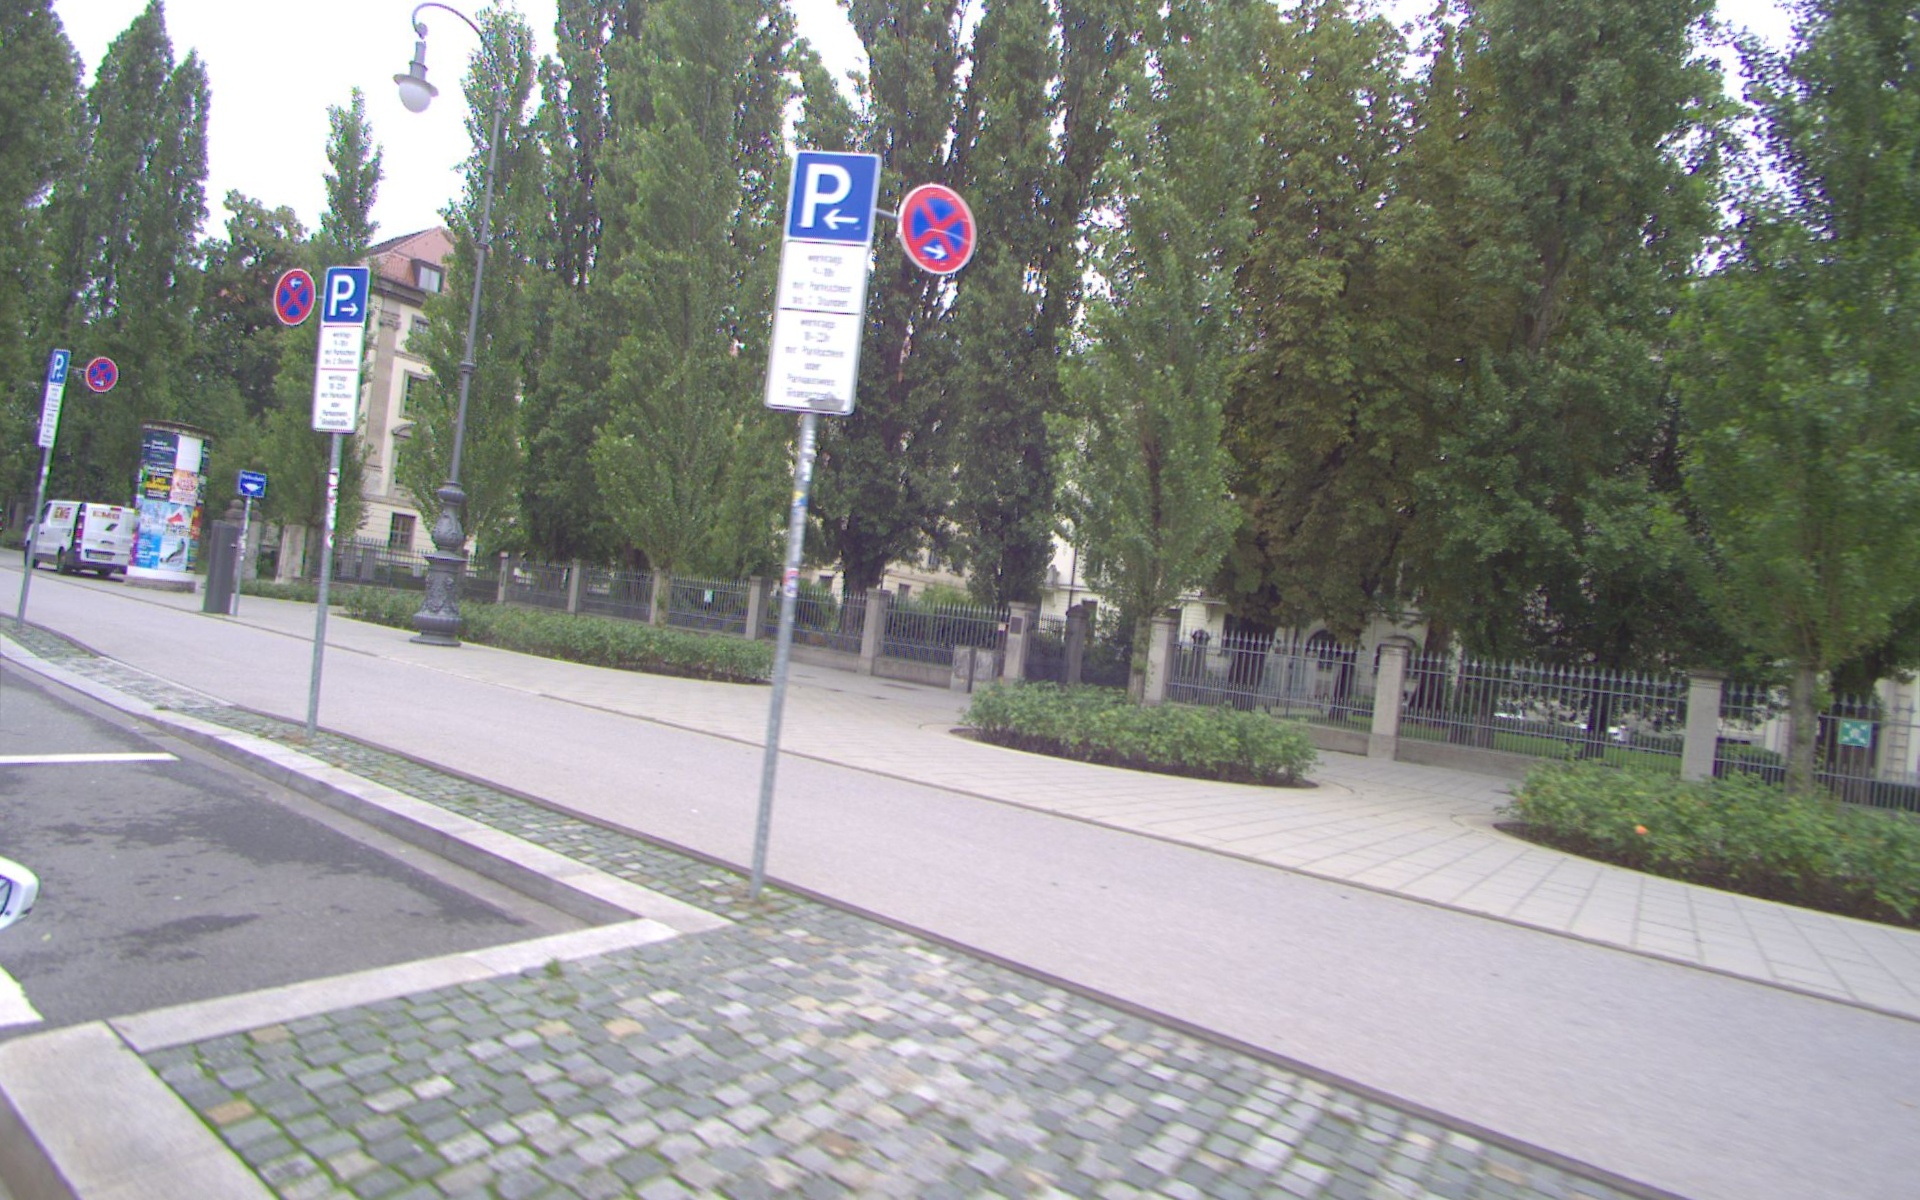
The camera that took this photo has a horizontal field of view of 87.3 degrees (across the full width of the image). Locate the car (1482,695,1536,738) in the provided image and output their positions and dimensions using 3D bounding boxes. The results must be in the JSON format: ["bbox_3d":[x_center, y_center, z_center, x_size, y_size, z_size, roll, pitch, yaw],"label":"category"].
[{"bbox_3d":[26.836,5.665,49.121,1.772,1.790,3.990,6,-2,35],"label":"car"}]

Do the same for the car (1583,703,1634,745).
[{"bbox_3d":[30.060,5.703,46.570,1.625,1.637,3.988,6,-1,37],"label":"car"}]

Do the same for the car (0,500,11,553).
[{"bbox_3d":[-39.209,-3.082,39.403,5.006,1.969,1.994,5,-2,37],"label":"car"}]

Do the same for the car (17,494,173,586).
[{"bbox_3d":[-23.644,-1.658,27.441,4.808,1.966,1.883,6,-3,35],"label":"car"}]
